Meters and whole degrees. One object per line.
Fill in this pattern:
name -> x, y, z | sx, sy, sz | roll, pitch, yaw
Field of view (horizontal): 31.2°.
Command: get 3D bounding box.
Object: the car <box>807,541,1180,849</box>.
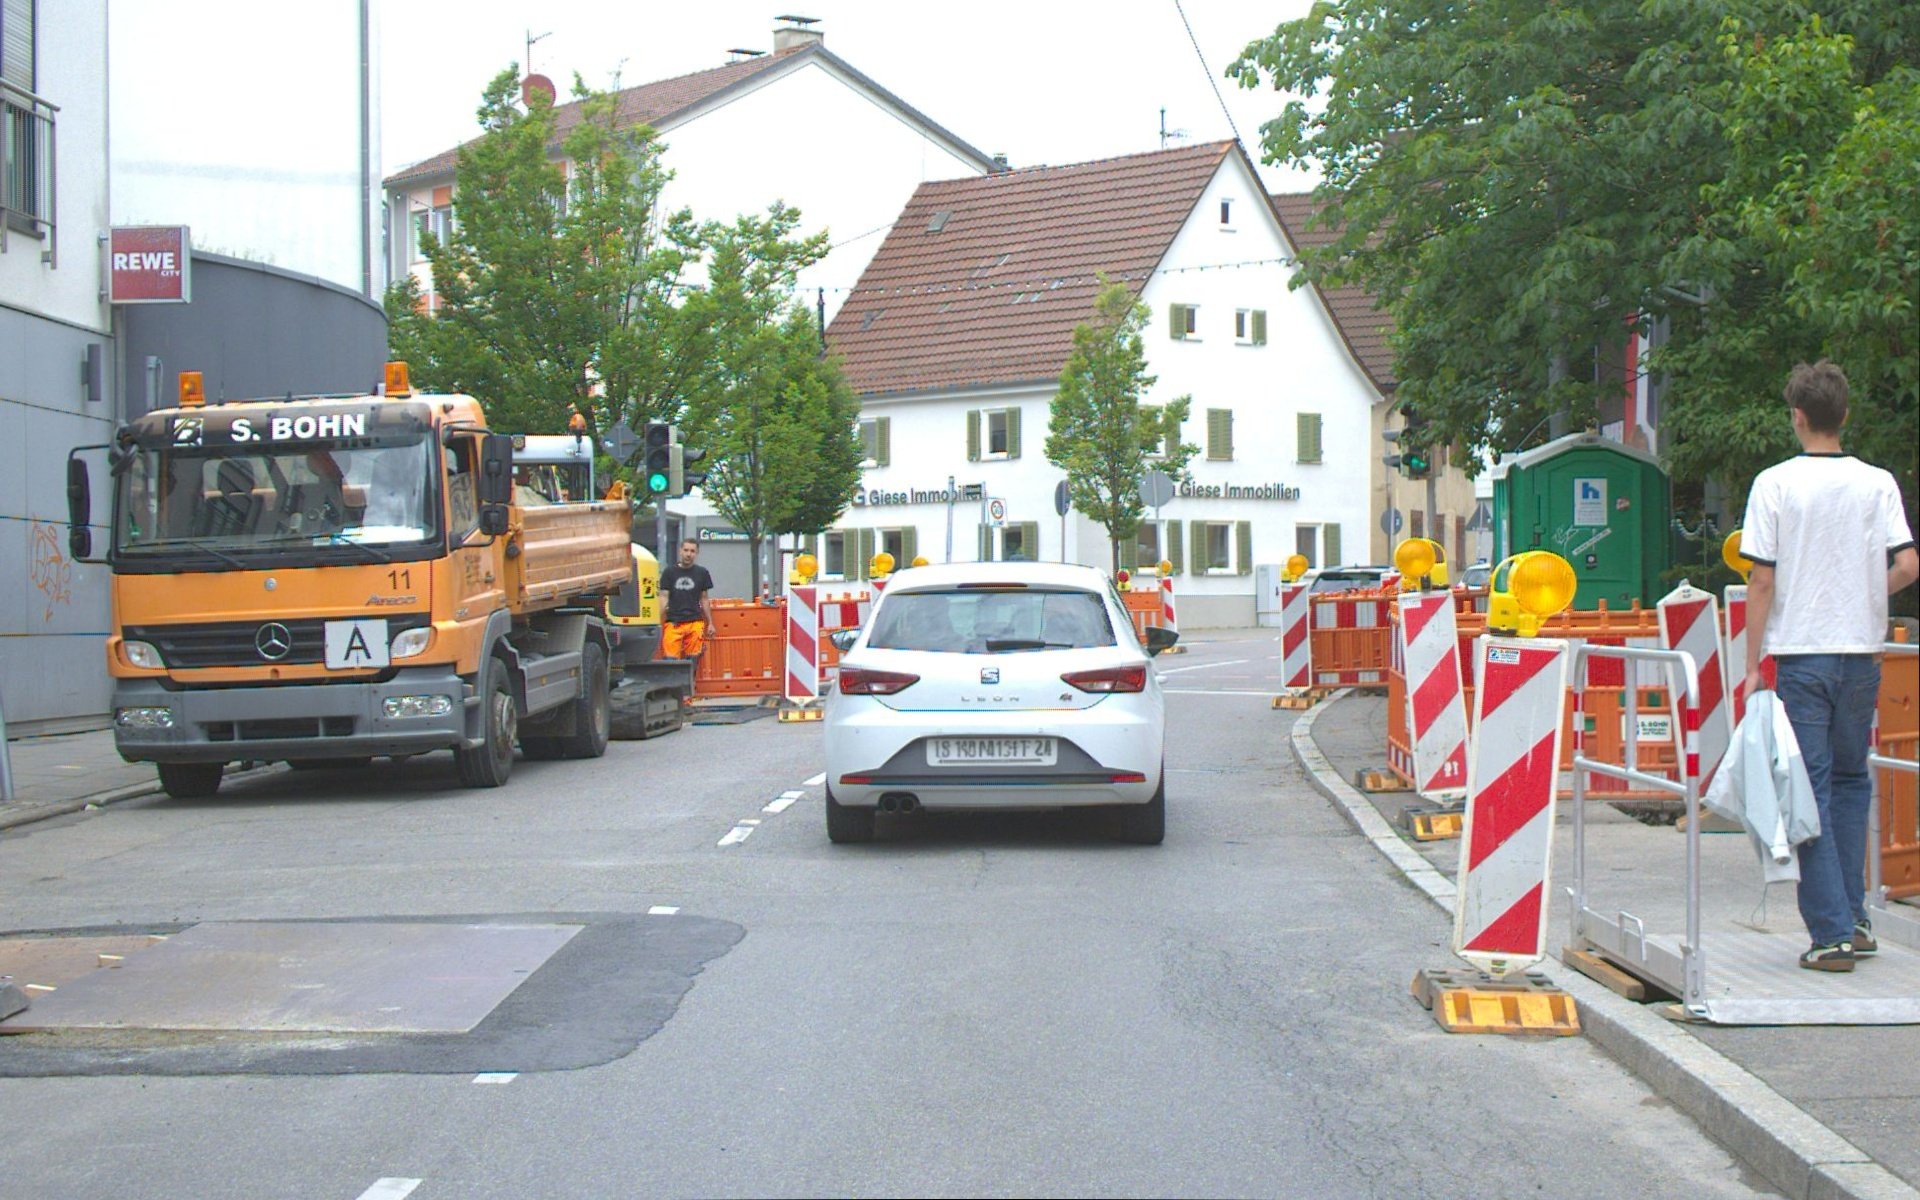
car -> 0.206, 0.430, 18.678 | 1.811, 1.475, 3.870 | 0, 1, 1

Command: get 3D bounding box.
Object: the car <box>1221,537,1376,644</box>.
car -> 5.078, -0.164, 51.141 | 1.812, 1.475, 3.868 | -1, 1, 13

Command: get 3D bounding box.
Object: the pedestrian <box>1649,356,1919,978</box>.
pedestrian -> 2.764, 0.201, 11.244 | 0.798, 1.943, 0.836 | -1, 1, -1

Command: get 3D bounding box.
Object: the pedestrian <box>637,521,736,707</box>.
pedestrian -> -2.690, 0.132, 33.907 | 0.814, 1.809, 0.743 | -1, 1, 8

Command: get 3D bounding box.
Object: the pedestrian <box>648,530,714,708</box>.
pedestrian -> -2.749, 0.182, 33.885 | 0.537, 1.738, 0.443 | -1, 0, 9

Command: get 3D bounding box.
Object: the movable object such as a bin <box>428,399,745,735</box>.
movable object such as a bin -> -3.240, -0.258, 30.714 | 1.839, 2.754, 4.504 | -1, 0, 6

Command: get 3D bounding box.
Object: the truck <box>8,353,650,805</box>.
truck -> -4.169, -0.194, 24.398 | 2.732, 2.715, 6.847 | -1, 1, 5

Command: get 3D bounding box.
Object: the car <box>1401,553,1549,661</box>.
car -> 9.969, 0.114, 66.350 | 1.995, 2.007, 3.996 | -1, 0, 21
